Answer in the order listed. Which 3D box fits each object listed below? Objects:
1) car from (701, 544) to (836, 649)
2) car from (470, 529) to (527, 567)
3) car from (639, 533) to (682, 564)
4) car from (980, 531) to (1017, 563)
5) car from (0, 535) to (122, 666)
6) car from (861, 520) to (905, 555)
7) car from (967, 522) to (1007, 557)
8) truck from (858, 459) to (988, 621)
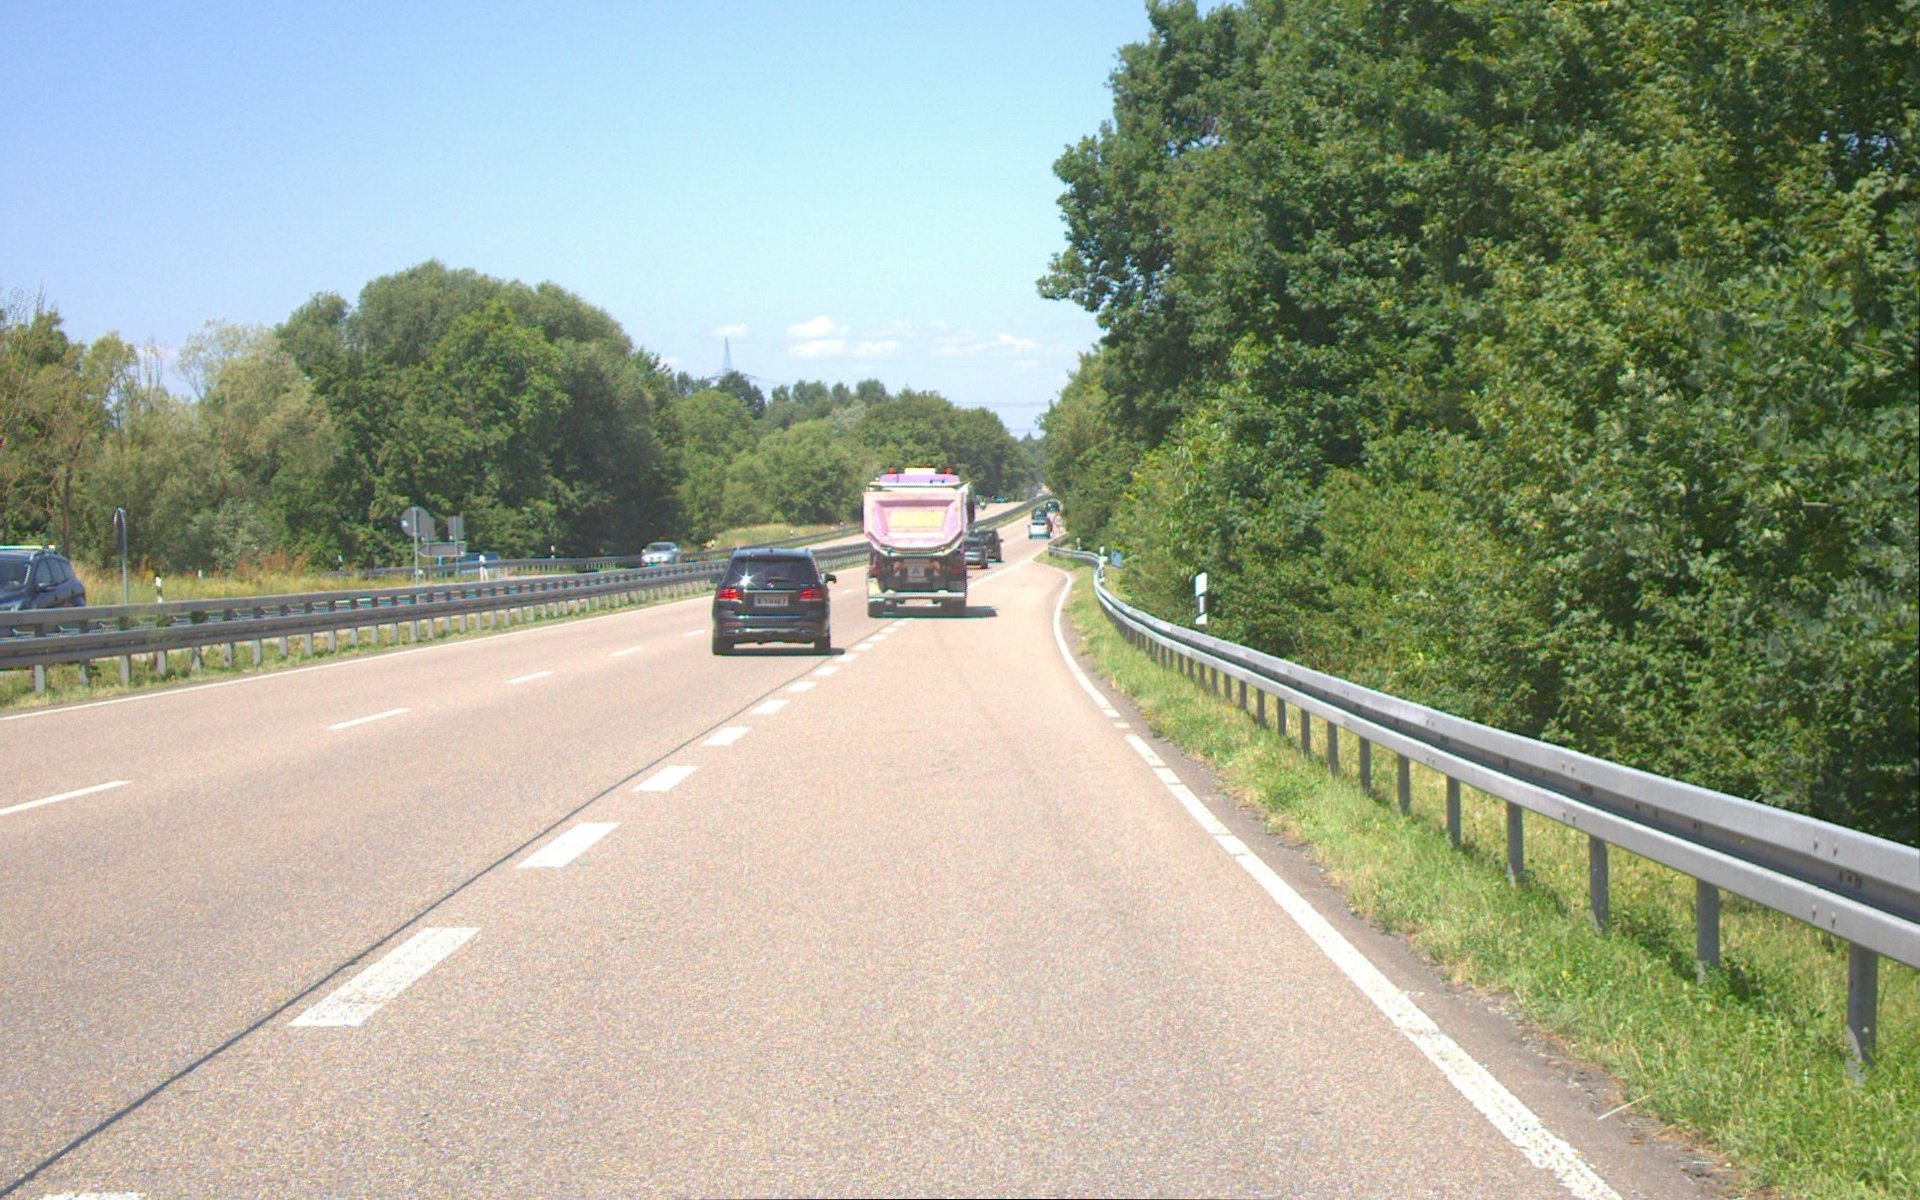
[{"bbox_3d":[-3.146,-0.075,57.136,1.857,1.665,4.000,0,1,2],"label":"car"},{"bbox_3d":[-18.353,-2.052,136.868,1.918,1.484,4.000,0,0,-3],"label":"car"},{"bbox_3d":[-16.189,-2.775,186.171,1.724,1.639,4.943,0,1,2],"label":"car"},{"bbox_3d":[2.085,-2.850,185.443,1.857,1.665,4.000,0,1,2],"label":"car"},{"bbox_3d":[-13.794,-0.014,50.158,1.863,1.824,4.660,0,1,2],"label":"car"},{"bbox_3d":[-3.725,-3.016,166.692,1.857,1.665,4.000,0,1,2],"label":"car"},{"bbox_3d":[1.323,-2.939,167.566,1.857,1.665,4.000,0,1,2],"label":"car"},{"bbox_3d":[-0.850,-1.682,89.602,2.720,3.916,12.370,0,2,2],"label":"truck"}]
